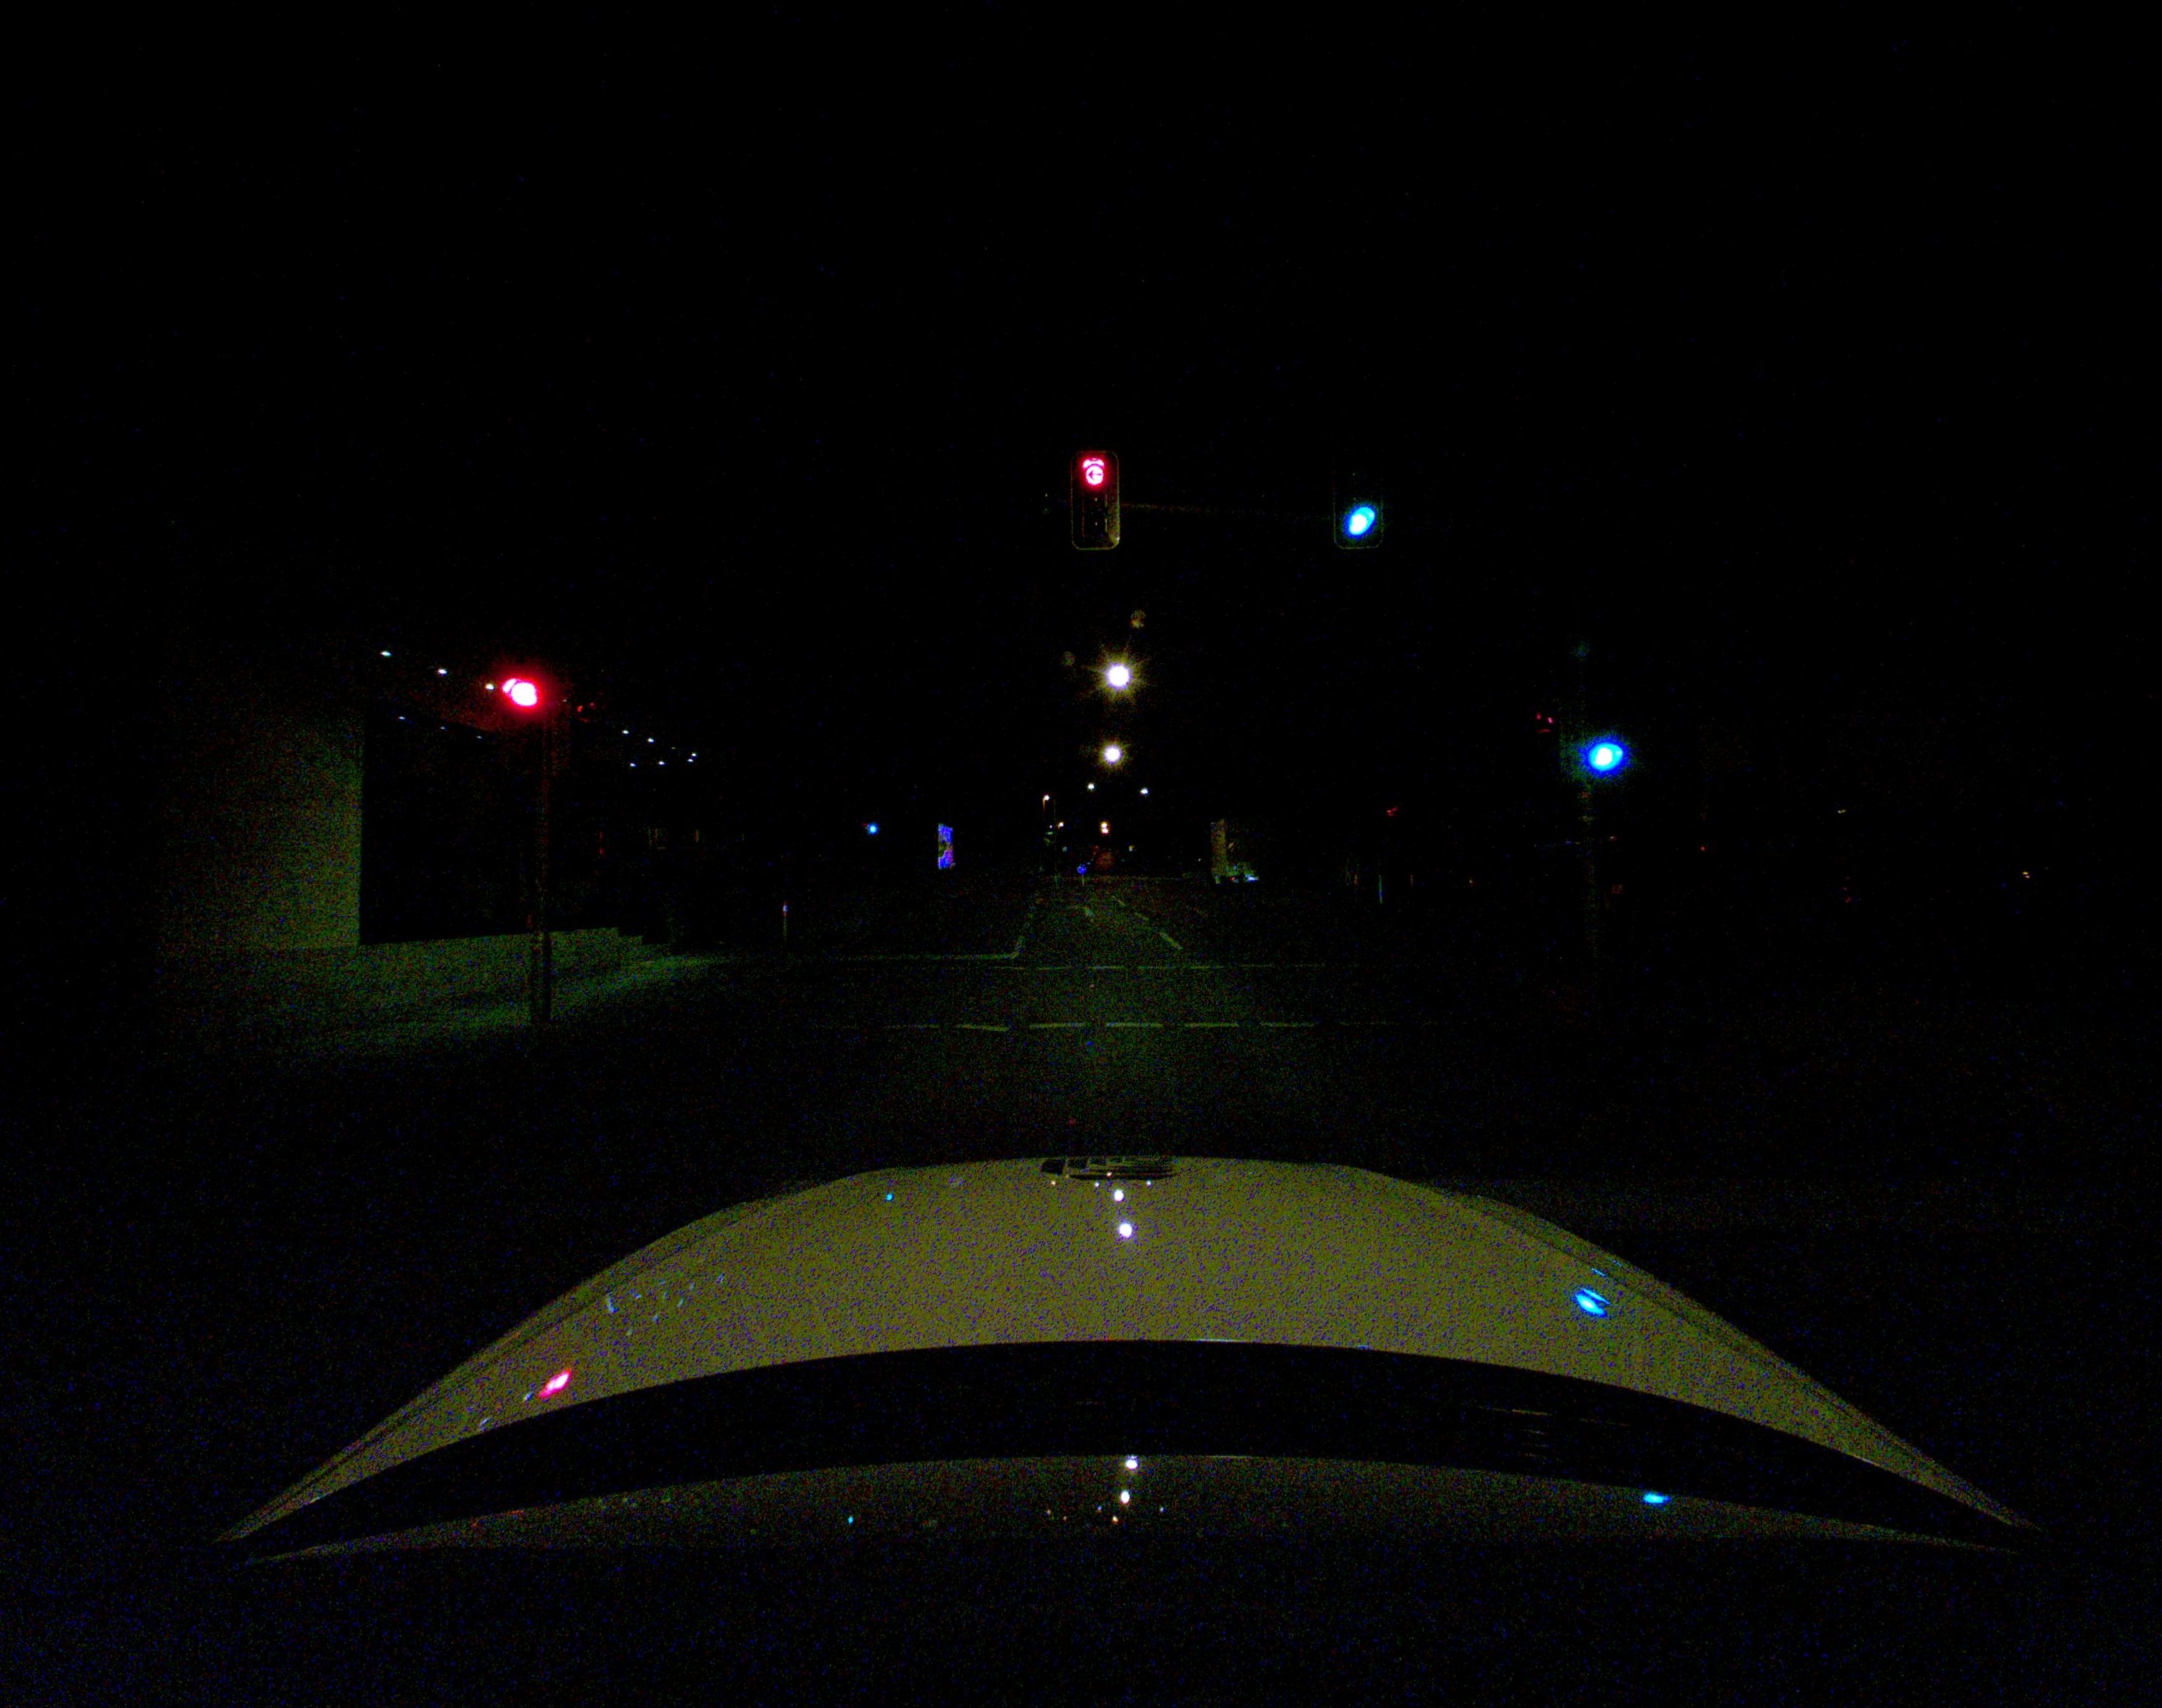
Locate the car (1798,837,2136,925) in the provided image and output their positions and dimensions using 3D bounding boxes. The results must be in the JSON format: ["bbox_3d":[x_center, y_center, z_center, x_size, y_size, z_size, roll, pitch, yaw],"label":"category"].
[{"bbox_3d":[17.455,0.567,16.284,4.342,1.560,1.807,-2,-3,8],"label":"car"}]

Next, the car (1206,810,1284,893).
[{"bbox_3d":[6.763,-0.094,34.265,2.287,3.093,5.845,-2,-1,3],"label":"car"}]

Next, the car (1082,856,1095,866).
[{"bbox_3d":[1.244,1.170,134.536,1.901,1.557,3.906,0,-1,2],"label":"car"}]

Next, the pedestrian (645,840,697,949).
[{"bbox_3d":[-6.699,0.652,13.333,0.568,1.731,0.544,0,-1,1],"label":"pedestrian"}]

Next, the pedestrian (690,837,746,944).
[{"bbox_3d":[-6.221,0.616,13.996,0.568,1.778,0.737,1,-1,1],"label":"pedestrian"}]
